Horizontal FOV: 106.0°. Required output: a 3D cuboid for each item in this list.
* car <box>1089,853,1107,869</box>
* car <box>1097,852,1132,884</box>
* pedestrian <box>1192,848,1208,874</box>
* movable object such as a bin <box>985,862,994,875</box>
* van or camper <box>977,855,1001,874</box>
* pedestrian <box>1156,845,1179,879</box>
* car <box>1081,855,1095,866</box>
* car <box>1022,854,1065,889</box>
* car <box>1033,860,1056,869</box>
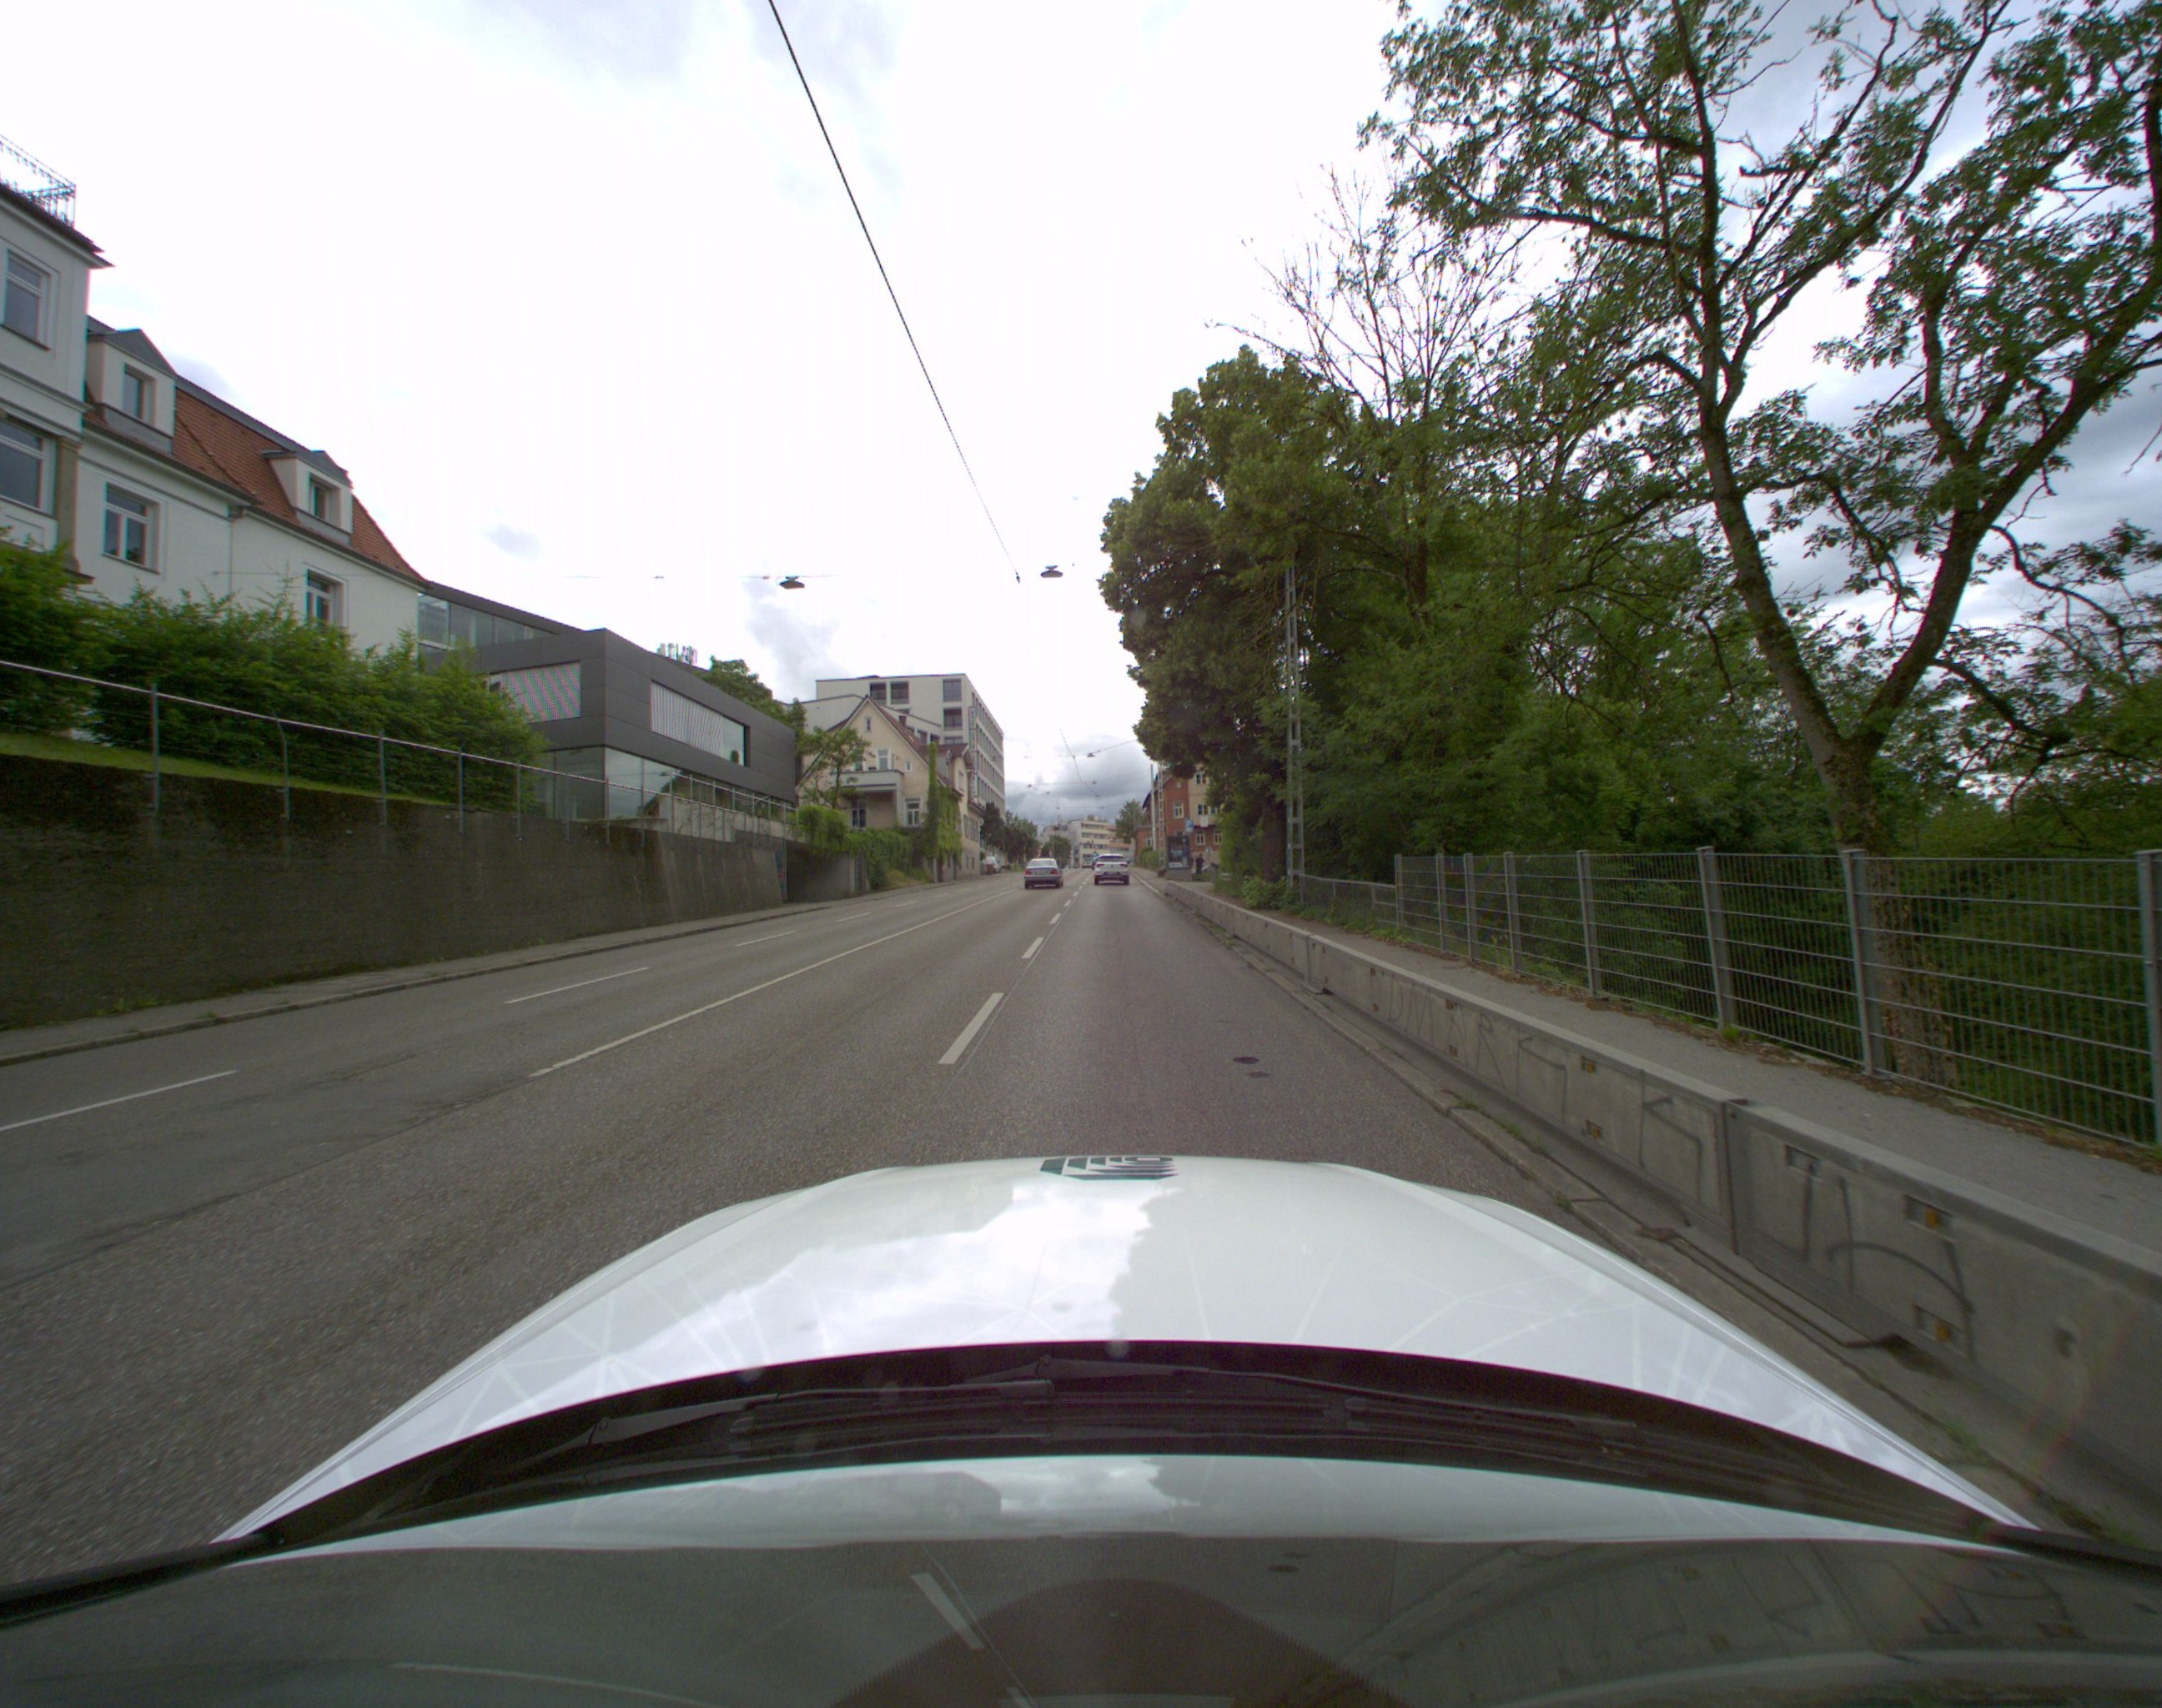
[{"bbox_3d":[1.861,0.709,89.041,1.823,1.651,4.002,-2,0,2],"label":"car"},{"bbox_3d":[1.722,0.697,42.203,1.693,1.548,3.738,1,0,2],"label":"car"},{"bbox_3d":[7.388,0.434,50.579,0.588,1.571,0.640,-3,0,-36],"label":"pedestrian"},{"bbox_3d":[-8.772,1.397,78.218,0.808,1.189,0.697,2,-1,-4],"label":"movable object such as a bin"},{"bbox_3d":[-10.330,1.169,91.561,2.054,1.968,4.871,-2,0,-1],"label":"van or camper"},{"bbox_3d":[5.022,0.451,47.367,0.936,1.884,0.820,-3,0,41],"label":"pedestrian"},{"bbox_3d":[1.056,0.870,117.294,1.823,1.464,4.002,-2,0,2],"label":"car"},{"bbox_3d":[-1.712,0.770,38.246,1.693,1.516,3.738,-2,0,2],"label":"car"},{"bbox_3d":[-6.849,1.938,152.899,4.023,1.544,1.759,0,-2,-44],"label":"car"}]
